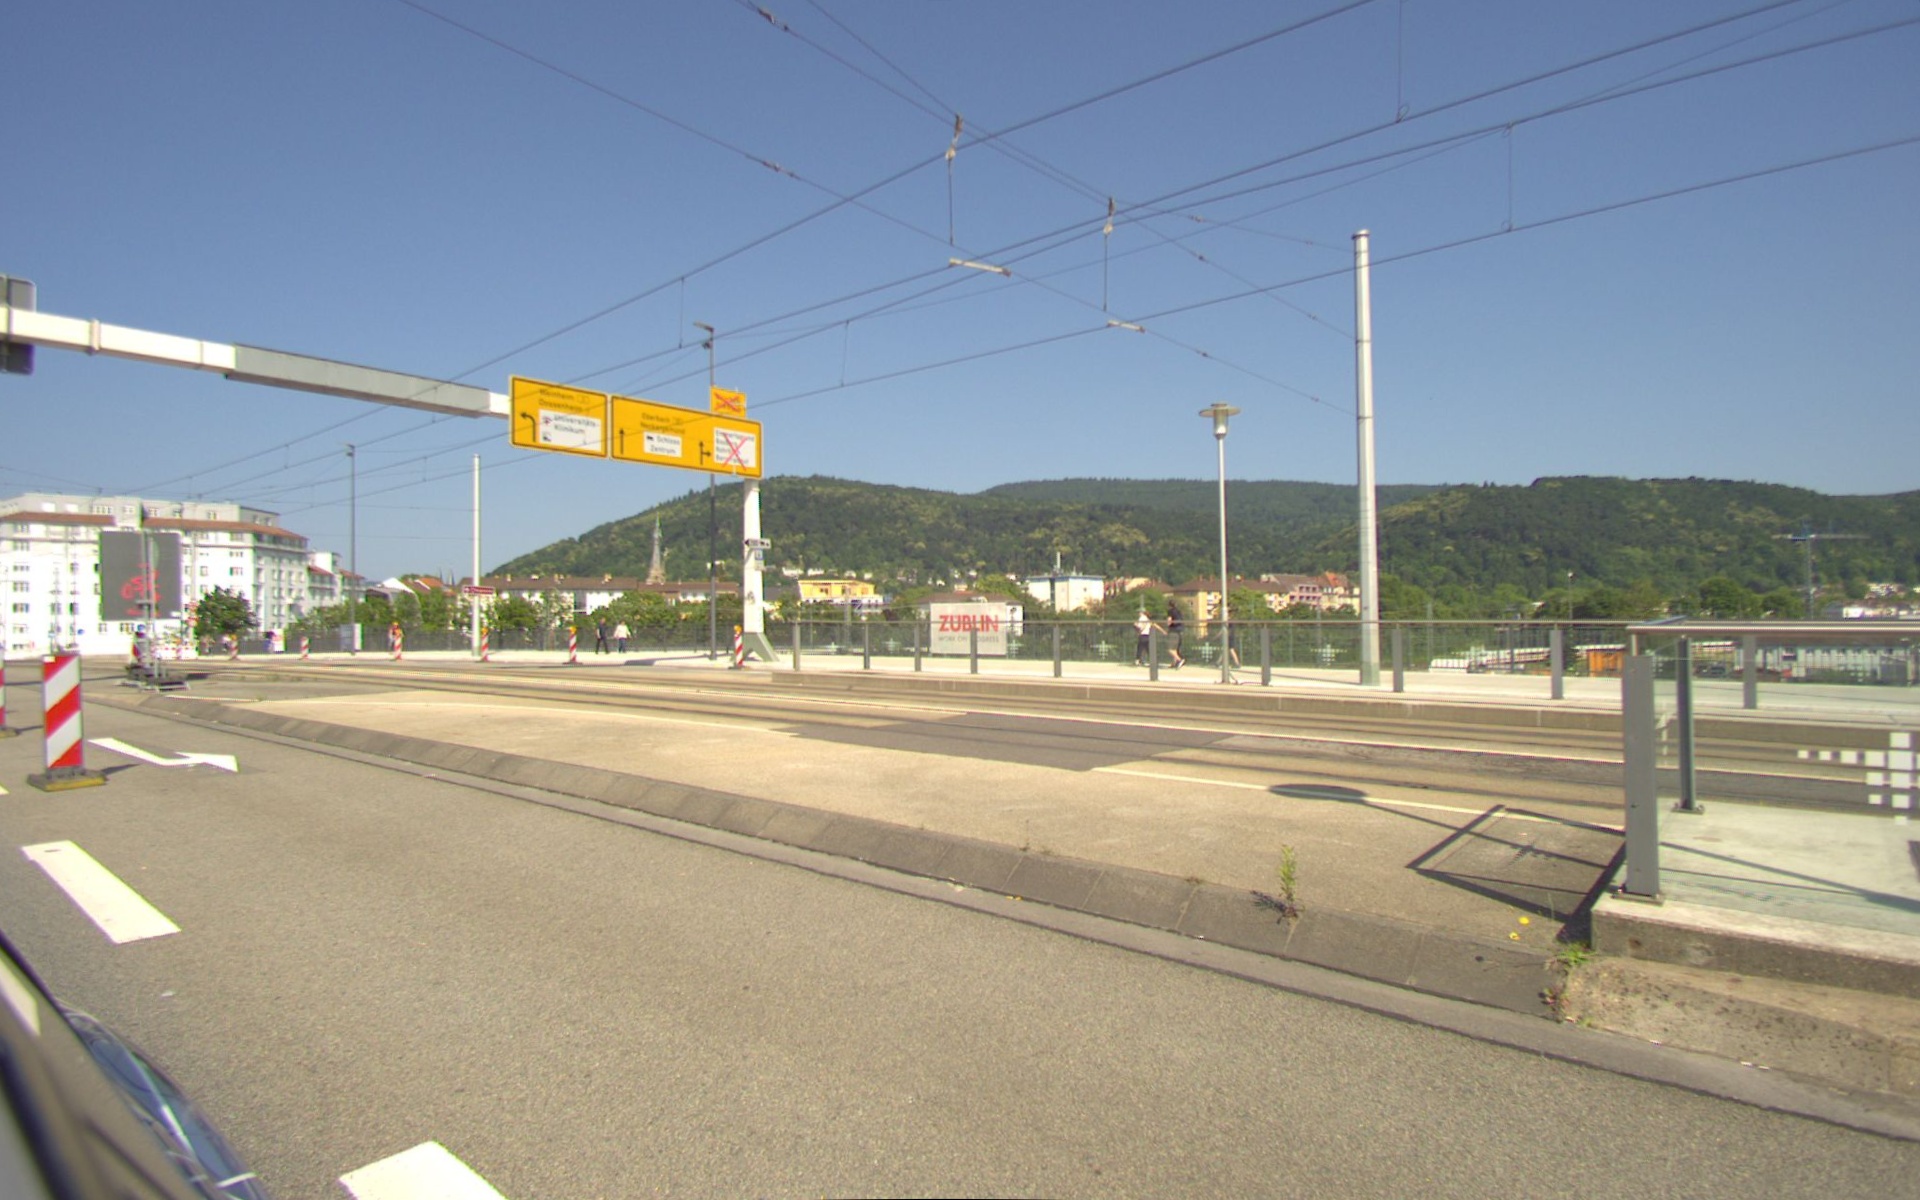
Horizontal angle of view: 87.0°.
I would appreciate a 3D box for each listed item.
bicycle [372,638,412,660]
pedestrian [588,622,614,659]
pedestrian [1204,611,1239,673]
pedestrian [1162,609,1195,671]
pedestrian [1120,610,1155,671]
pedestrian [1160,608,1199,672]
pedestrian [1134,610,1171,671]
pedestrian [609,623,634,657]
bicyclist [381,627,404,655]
[{"bbox_3d":[-32.577,2.838,58.004,3.067,1.204,0.848,-3,-1,38],"label":"bicycle"},{"bbox_3d":[-16.584,1.860,46.779,0.894,1.654,0.736,-3,0,38],"label":"pedestrian"},{"bbox_3d":[7.177,1.150,27.776,0.772,1.700,0.498,-3,-3,42],"label":"pedestrian"},{"bbox_3d":[6.077,1.115,28.182,0.770,1.700,0.379,-3,-3,42],"label":"pedestrian"},{"bbox_3d":[5.015,1.138,28.605,0.807,1.700,0.481,-3,-3,42],"label":"pedestrian"},{"bbox_3d":[5.933,1.073,27.382,0.731,1.700,0.745,-3,-3,42],"label":"pedestrian"},{"bbox_3d":[5.509,1.158,28.991,0.817,1.700,0.591,-3,-3,42],"label":"pedestrian"},{"bbox_3d":[-15.890,1.884,47.506,0.888,1.556,0.712,-3,0,38],"label":"pedestrian"},{"bbox_3d":[-32.460,2.343,57.904,0.816,1.530,0.848,-3,-1,37],"label":"bicyclist"}]
